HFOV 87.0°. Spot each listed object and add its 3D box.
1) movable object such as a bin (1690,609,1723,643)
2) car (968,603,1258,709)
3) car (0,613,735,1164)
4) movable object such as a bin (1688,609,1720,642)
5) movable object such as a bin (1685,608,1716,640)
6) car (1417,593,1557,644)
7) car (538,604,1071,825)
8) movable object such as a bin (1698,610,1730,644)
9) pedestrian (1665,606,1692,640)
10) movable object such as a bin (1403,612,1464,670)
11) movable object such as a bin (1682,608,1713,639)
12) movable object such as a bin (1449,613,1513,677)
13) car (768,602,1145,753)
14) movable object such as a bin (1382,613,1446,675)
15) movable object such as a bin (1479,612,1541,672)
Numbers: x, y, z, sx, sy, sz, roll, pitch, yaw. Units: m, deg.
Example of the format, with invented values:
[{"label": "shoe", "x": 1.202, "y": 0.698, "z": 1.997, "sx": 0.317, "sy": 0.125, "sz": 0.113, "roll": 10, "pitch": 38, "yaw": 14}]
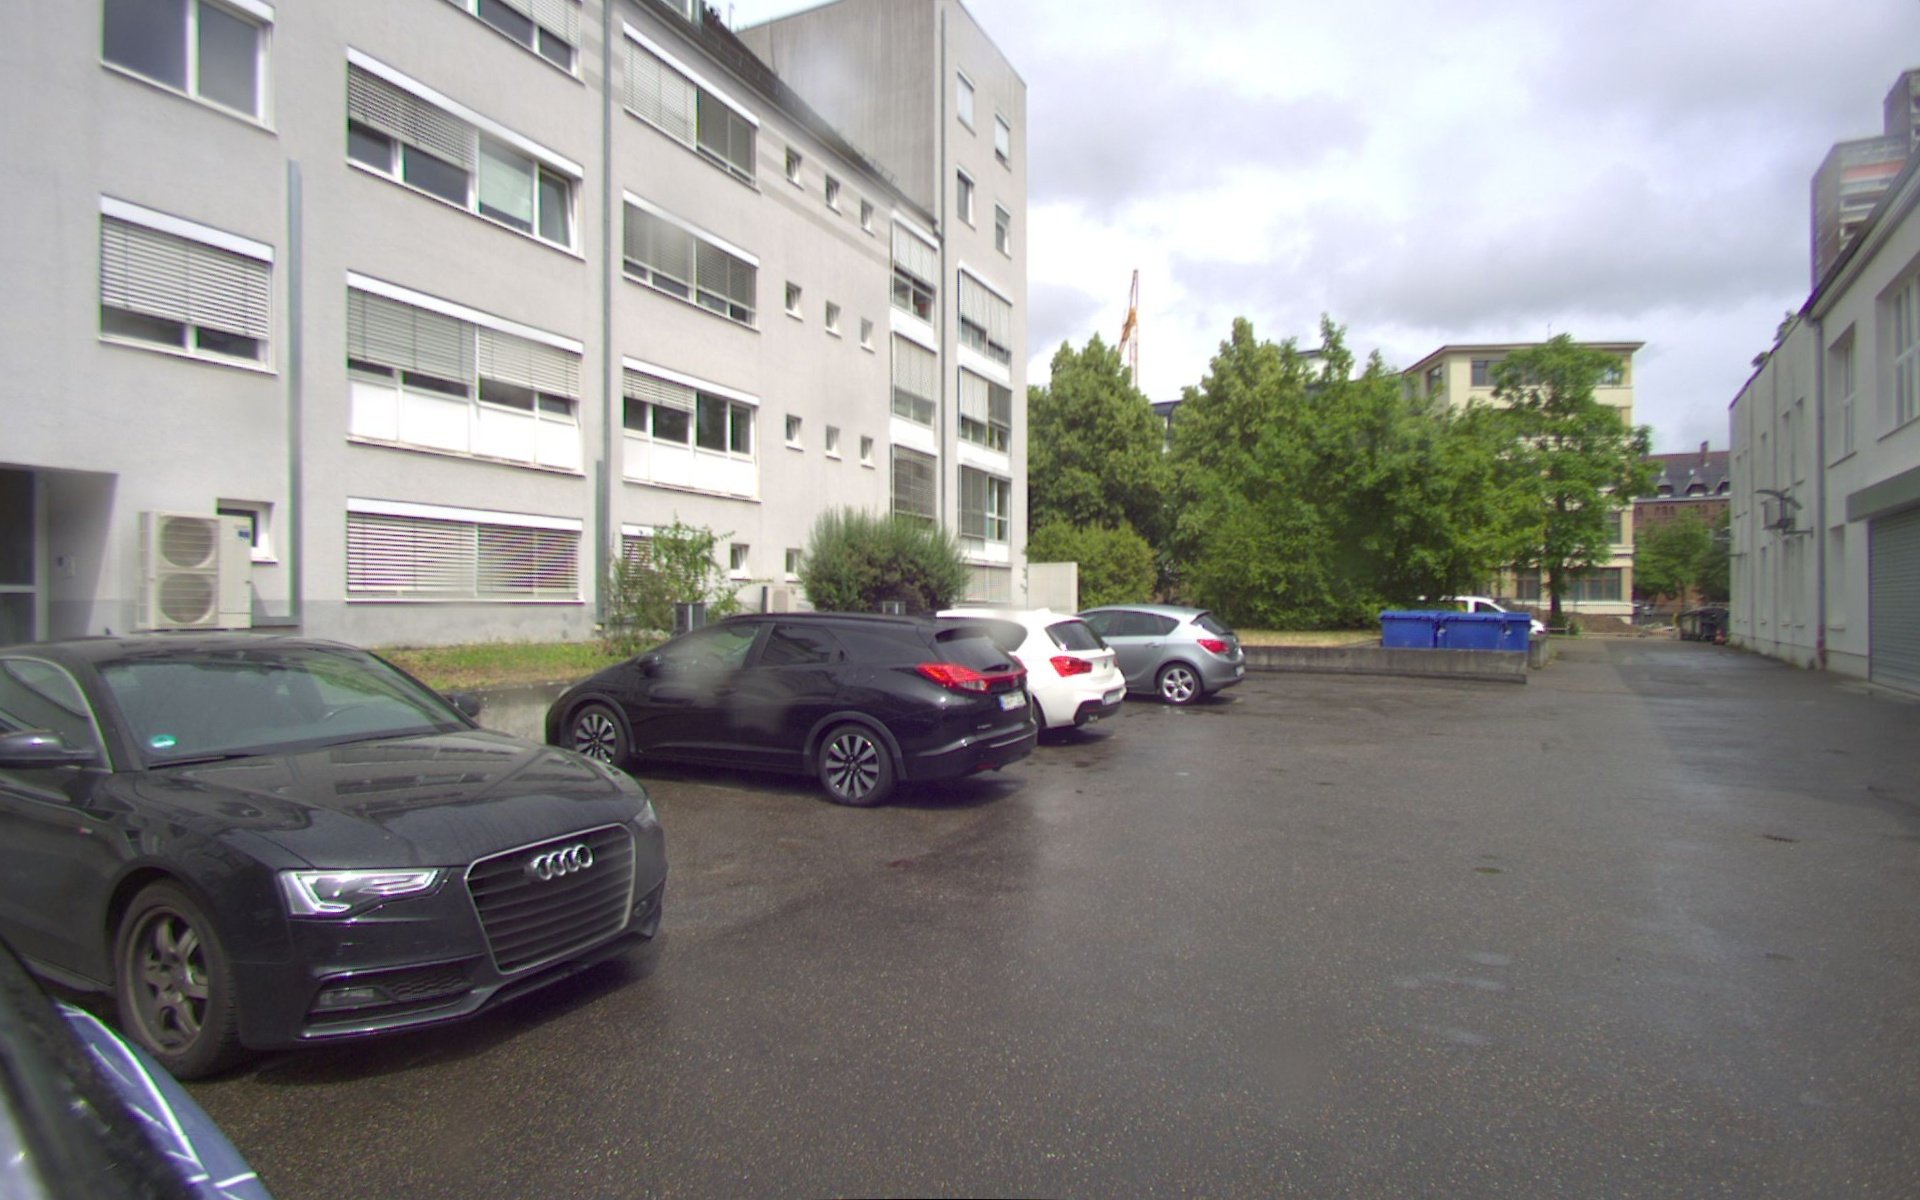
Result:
[{"label": "movable object such as a bin", "x": 31.215, "y": 1.081, "z": 42.348, "sx": 1.043, "sy": 1.366, "sz": 1.193, "roll": -1, "pitch": 0, "yaw": 35}, {"label": "car", "x": 2.434, "y": 0.813, "z": 16.216, "sx": 4.292, "sy": 1.453, "sz": 1.748, "roll": 1, "pitch": 0, "yaw": 26}, {"label": "car", "x": -3.339, "y": 0.788, "z": 4.481, "sx": 4.505, "sy": 1.362, "sz": 1.747, "roll": 1, "pitch": 0, "yaw": 27}, {"label": "movable object such as a bin", "x": 31.961, "y": 1.074, "z": 43.487, "sx": 1.061, "sy": 1.366, "sz": 1.204, "roll": -1, "pitch": 0, "yaw": 35}, {"label": "movable object such as a bin", "x": 32.779, "y": 1.066, "z": 44.820, "sx": 1.064, "sy": 1.366, "sz": 1.250, "roll": -1, "pitch": 0, "yaw": 35}, {"label": "car", "x": 19.316, "y": 0.671, "z": 37.173, "sx": 4.327, "sy": 1.740, "sz": 1.701, "roll": -1, "pitch": 0, "yaw": 37}, {"label": "car", "x": -1.365, "y": 0.790, "z": 8.666, "sx": 4.292, "sy": 1.453, "sz": 1.748, "roll": 1, "pitch": 0, "yaw": 25}, {"label": "movable object such as a bin", "x": 30.420, "y": 1.088, "z": 40.864, "sx": 0.976, "sy": 1.366, "sz": 0.908, "roll": -1, "pitch": 0, "yaw": 35}, {"label": "pedestrian", "x": 39.849, "y": 1.273, "z": 56.150, "sx": 0.848, "sy": 1.827, "sz": 0.864, "roll": -1, "pitch": 0, "yaw": 0}, {"label": "movable object such as a bin", "x": 11.325, "y": 0.961, "z": 24.197, "sx": 1.129, "sy": 1.338, "sz": 1.194, "roll": -1, "pitch": 0, "yaw": 34}, {"label": "movable object such as a bin", "x": 33.485, "y": 1.059, "z": 45.981, "sx": 1.064, "sy": 1.366, "sz": 1.250, "roll": -1, "pitch": 0, "yaw": 35}, {"label": "movable object such as a bin", "x": 11.422, "y": 0.958, "z": 22.173, "sx": 1.093, "sy": 1.335, "sz": 1.194, "roll": -1, "pitch": 0, "yaw": 34}, {"label": "car", "x": -0.076, "y": 0.780, "z": 11.812, "sx": 4.105, "sy": 1.453, "sz": 1.681, "roll": 1, "pitch": 0, "yaw": 27}, {"label": "movable object such as a bin", "x": 10.275, "y": 0.972, "z": 22.896, "sx": 1.129, "sy": 1.338, "sz": 1.194, "roll": -1, "pitch": 0, "yaw": 34}, {"label": "movable object such as a bin", "x": 12.721, "y": 0.952, "z": 23.414, "sx": 1.129, "sy": 1.338, "sz": 1.194, "roll": -1, "pitch": 0, "yaw": 34}]
